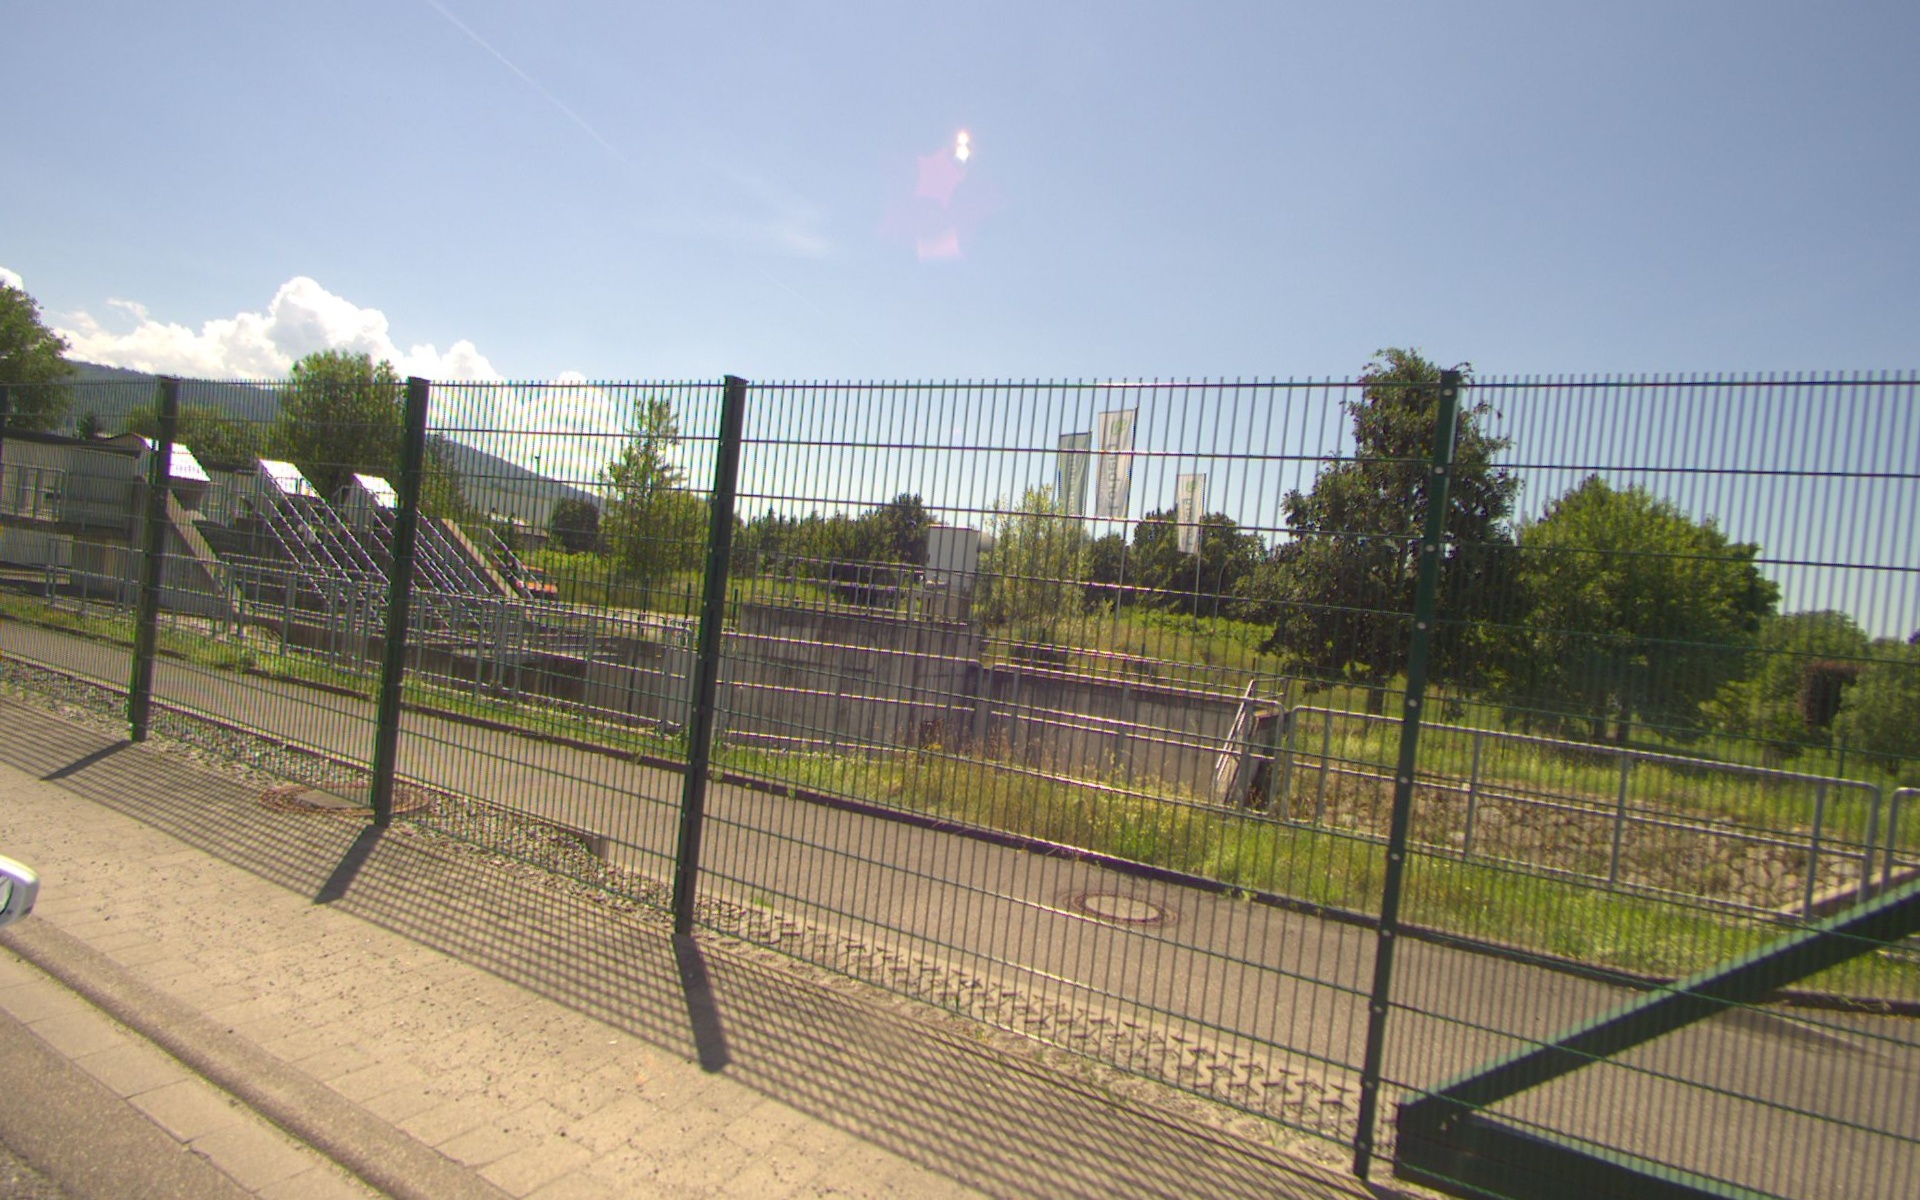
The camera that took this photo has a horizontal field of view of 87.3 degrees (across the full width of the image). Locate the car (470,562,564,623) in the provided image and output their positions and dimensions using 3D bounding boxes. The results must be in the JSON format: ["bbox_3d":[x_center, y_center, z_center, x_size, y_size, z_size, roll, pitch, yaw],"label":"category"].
[{"bbox_3d":[-18.889,-0.339,42.761,1.988,2.045,4.861,8,-1,-43],"label":"car"}]
